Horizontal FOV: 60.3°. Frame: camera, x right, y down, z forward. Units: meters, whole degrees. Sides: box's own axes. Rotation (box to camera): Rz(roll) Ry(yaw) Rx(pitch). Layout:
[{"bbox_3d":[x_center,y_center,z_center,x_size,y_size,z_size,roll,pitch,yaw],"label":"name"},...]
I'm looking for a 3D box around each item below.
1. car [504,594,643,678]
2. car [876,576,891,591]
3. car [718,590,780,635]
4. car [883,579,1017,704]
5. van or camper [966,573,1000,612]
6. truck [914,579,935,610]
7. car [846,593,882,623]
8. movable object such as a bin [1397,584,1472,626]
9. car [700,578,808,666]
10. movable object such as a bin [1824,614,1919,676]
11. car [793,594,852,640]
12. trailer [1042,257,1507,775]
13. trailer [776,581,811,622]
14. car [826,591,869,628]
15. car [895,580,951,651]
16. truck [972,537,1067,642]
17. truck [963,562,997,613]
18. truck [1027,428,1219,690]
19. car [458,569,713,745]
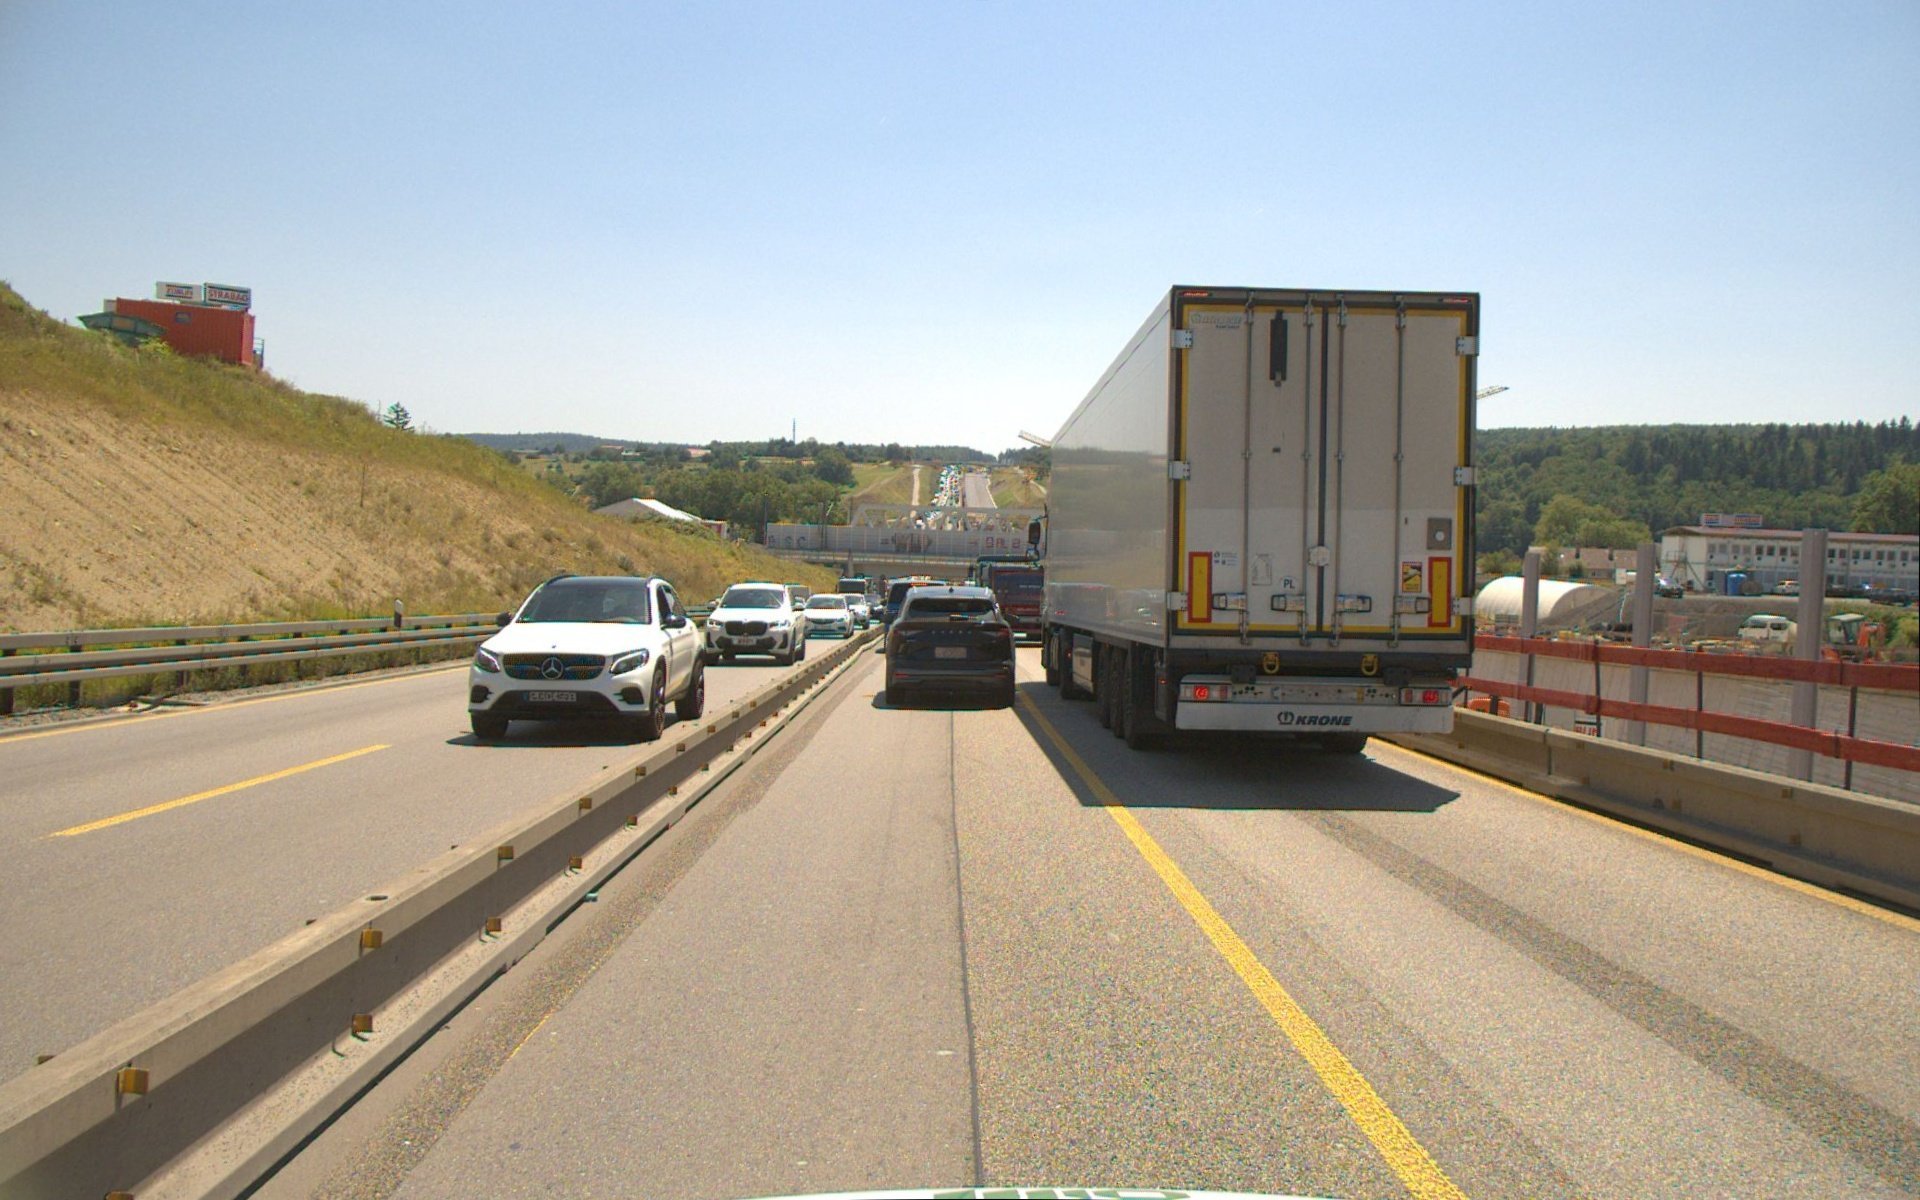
[{"bbox_3d":[-6.939,0.605,30.035,1.667,1.403,3.966,1,0,-2],"label":"car"},{"bbox_3d":[-9.580,-2.008,207.234,1.697,1.825,3.579,1,0,-1],"label":"car"},{"bbox_3d":[-7.904,0.449,62.273,1.861,1.612,4.513,1,0,-2],"label":"car"},{"bbox_3d":[-0.158,0.524,23.385,1.764,1.648,3.297,0,1,-1],"label":"car"},{"bbox_3d":[1.385,-0.463,101.006,1.953,2.283,4.000,2,0,0],"label":"van or camper"},{"bbox_3d":[-4.537,-0.711,212.104,2.711,3.952,4.963,1,0,-1],"label":"truck"},{"bbox_3d":[-5.657,0.454,97.689,1.852,1.738,4.561,0,0,0],"label":"car"},{"bbox_3d":[35.357,0.368,123.698,2.828,2.960,9.478,1,0,0],"label":"movable object such as a bin"},{"bbox_3d":[-4.365,0.440,35.614,1.853,1.738,4.560,1,0,-2],"label":"car"},{"bbox_3d":[35.521,1.709,64.030,1.953,2.278,4.151,1,0,0],"label":"movable object such as a bin"},{"bbox_3d":[-4.707,0.549,57.146,1.769,1.503,4.279,1,0,-2],"label":"car"},{"bbox_3d":[2.887,-0.648,20.330,2.744,4.129,14.113,1,0,-1],"label":"trailer"},{"bbox_3d":[-8.575,0.075,85.475,1.614,2.061,4.267,0,0,-3],"label":"trailer"},{"bbox_3d":[-5.106,0.402,75.425,1.779,1.620,4.288,1,0,-2],"label":"car"},{"bbox_3d":[-0.970,0.389,44.623,1.444,1.826,3.297,0,0,0],"label":"car"},{"bbox_3d":[1.862,-0.324,56.967,2.756,3.190,12.836,1,0,0],"label":"truck"},{"bbox_3d":[1.612,-1.083,138.217,2.467,4.028,7.598,2,0,-1],"label":"truck"},{"bbox_3d":[2.679,-0.640,28.612,2.720,4.129,4.903,1,0,-1],"label":"truck"},{"bbox_3d":[-3.905,0.536,17.987,1.775,1.666,4.362,1,0,0],"label":"car"}]
